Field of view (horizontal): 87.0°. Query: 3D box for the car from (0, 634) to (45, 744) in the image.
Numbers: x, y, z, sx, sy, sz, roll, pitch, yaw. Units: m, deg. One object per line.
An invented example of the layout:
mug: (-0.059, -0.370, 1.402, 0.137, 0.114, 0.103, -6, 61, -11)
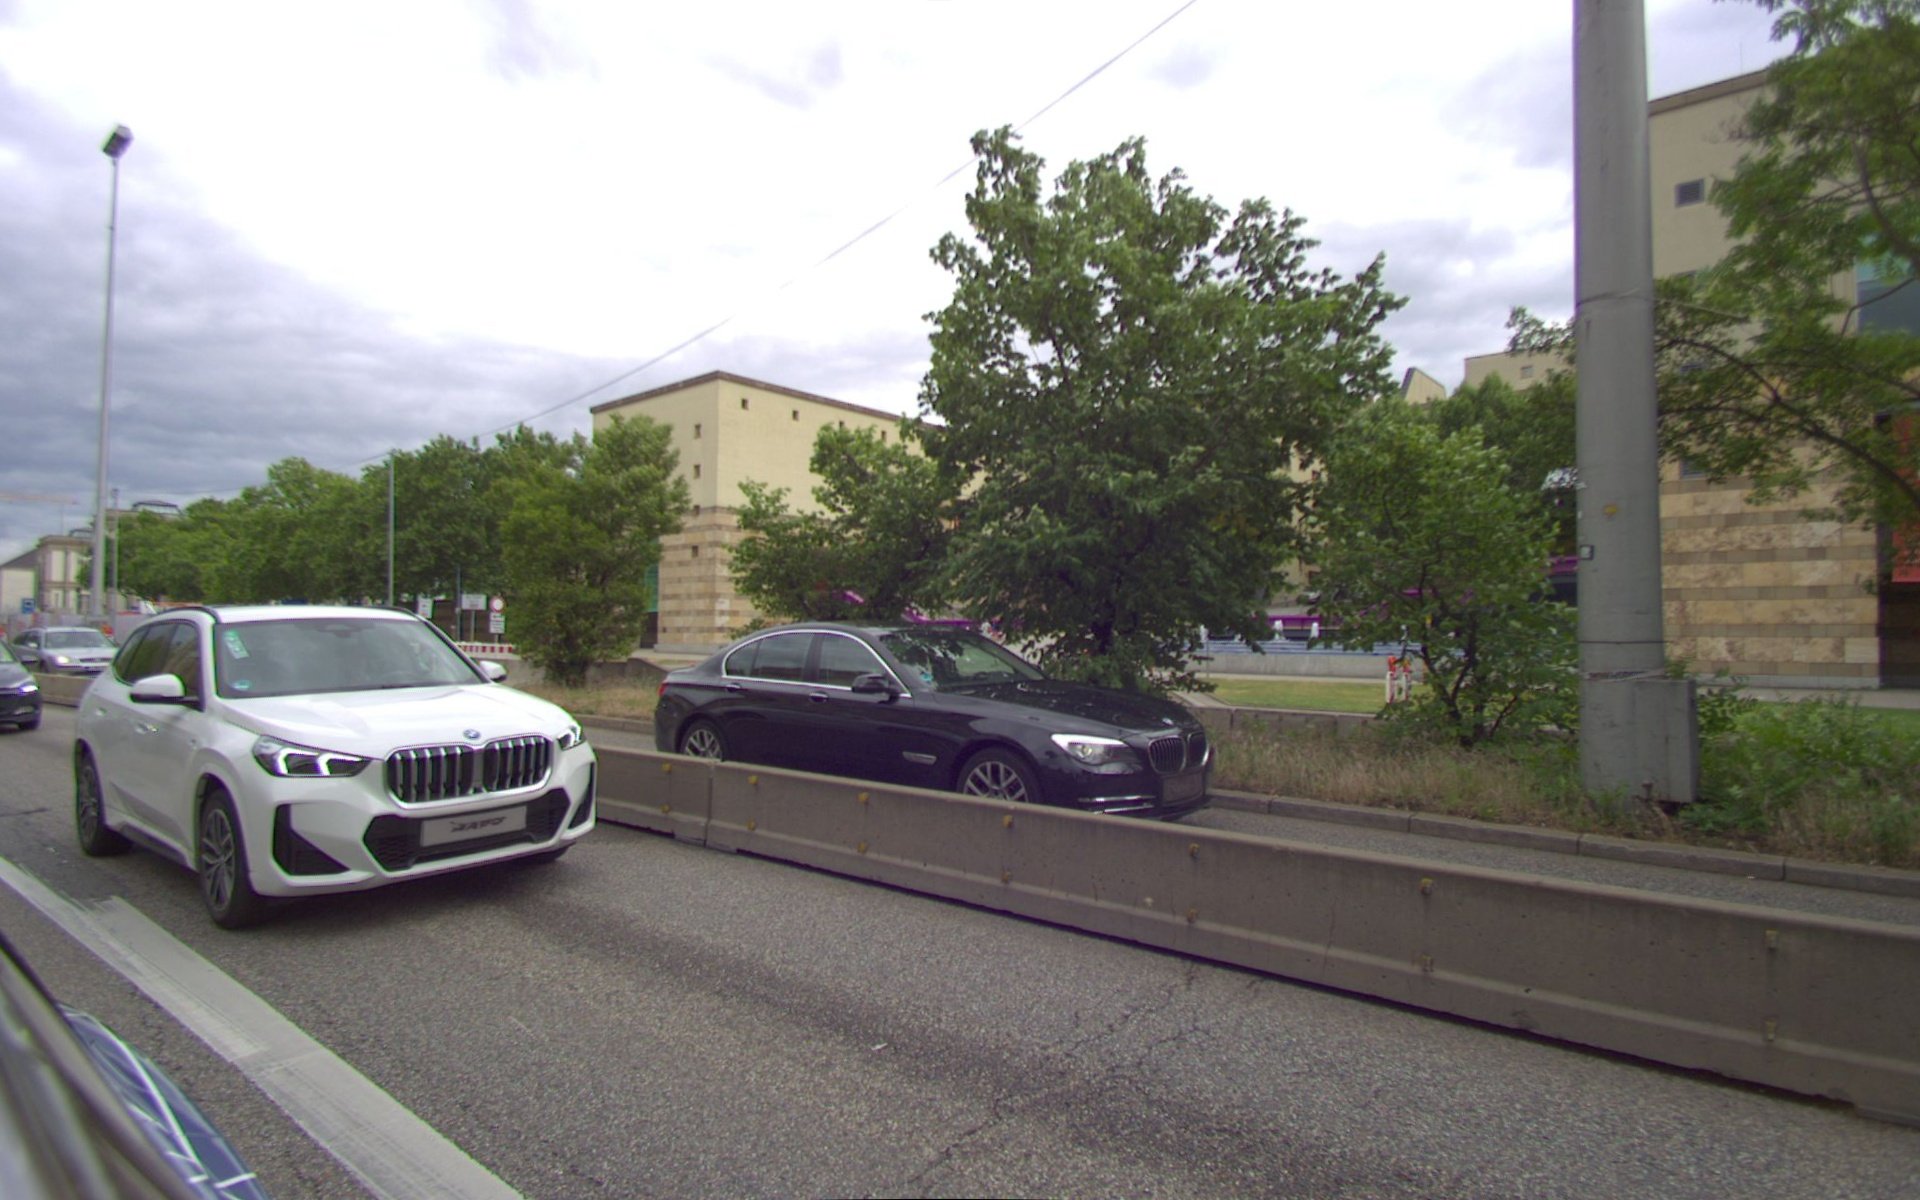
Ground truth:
car: (-14.730, 1.225, 14.337, 4.011, 1.448, 1.782, -1, -1, 35)

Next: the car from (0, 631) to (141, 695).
car: (-23.270, 1.561, 26.133, 4.688, 1.492, 1.864, -1, -1, 32)

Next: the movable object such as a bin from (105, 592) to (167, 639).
movable object such as a bin: (-39.901, 0.789, 48.971, 3.286, 2.202, 1.508, -2, -3, 36)

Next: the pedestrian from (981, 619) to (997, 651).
pedestrian: (1.539, 1.861, 54.066, 0.695, 1.708, 0.521, -1, -1, 30)

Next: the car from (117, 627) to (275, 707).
car: (-16.192, 1.348, 21.401, 3.847, 1.518, 1.657, -1, -1, 37)

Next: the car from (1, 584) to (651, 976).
car: (-4.261, 0.794, 6.450, 4.897, 1.640, 1.835, -1, -1, 36)

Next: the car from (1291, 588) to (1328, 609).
car: (30.089, -0.112, 87.012, 1.611, 1.811, 3.753, -2, -1, 43)

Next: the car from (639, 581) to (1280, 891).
car: (-0.308, 0.776, 7.769, 4.935, 1.648, 1.903, -1, -2, 42)

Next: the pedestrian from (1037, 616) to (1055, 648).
pedestrian: (5.102, 1.879, 59.963, 0.803, 1.867, 0.684, -1, 0, 42)
